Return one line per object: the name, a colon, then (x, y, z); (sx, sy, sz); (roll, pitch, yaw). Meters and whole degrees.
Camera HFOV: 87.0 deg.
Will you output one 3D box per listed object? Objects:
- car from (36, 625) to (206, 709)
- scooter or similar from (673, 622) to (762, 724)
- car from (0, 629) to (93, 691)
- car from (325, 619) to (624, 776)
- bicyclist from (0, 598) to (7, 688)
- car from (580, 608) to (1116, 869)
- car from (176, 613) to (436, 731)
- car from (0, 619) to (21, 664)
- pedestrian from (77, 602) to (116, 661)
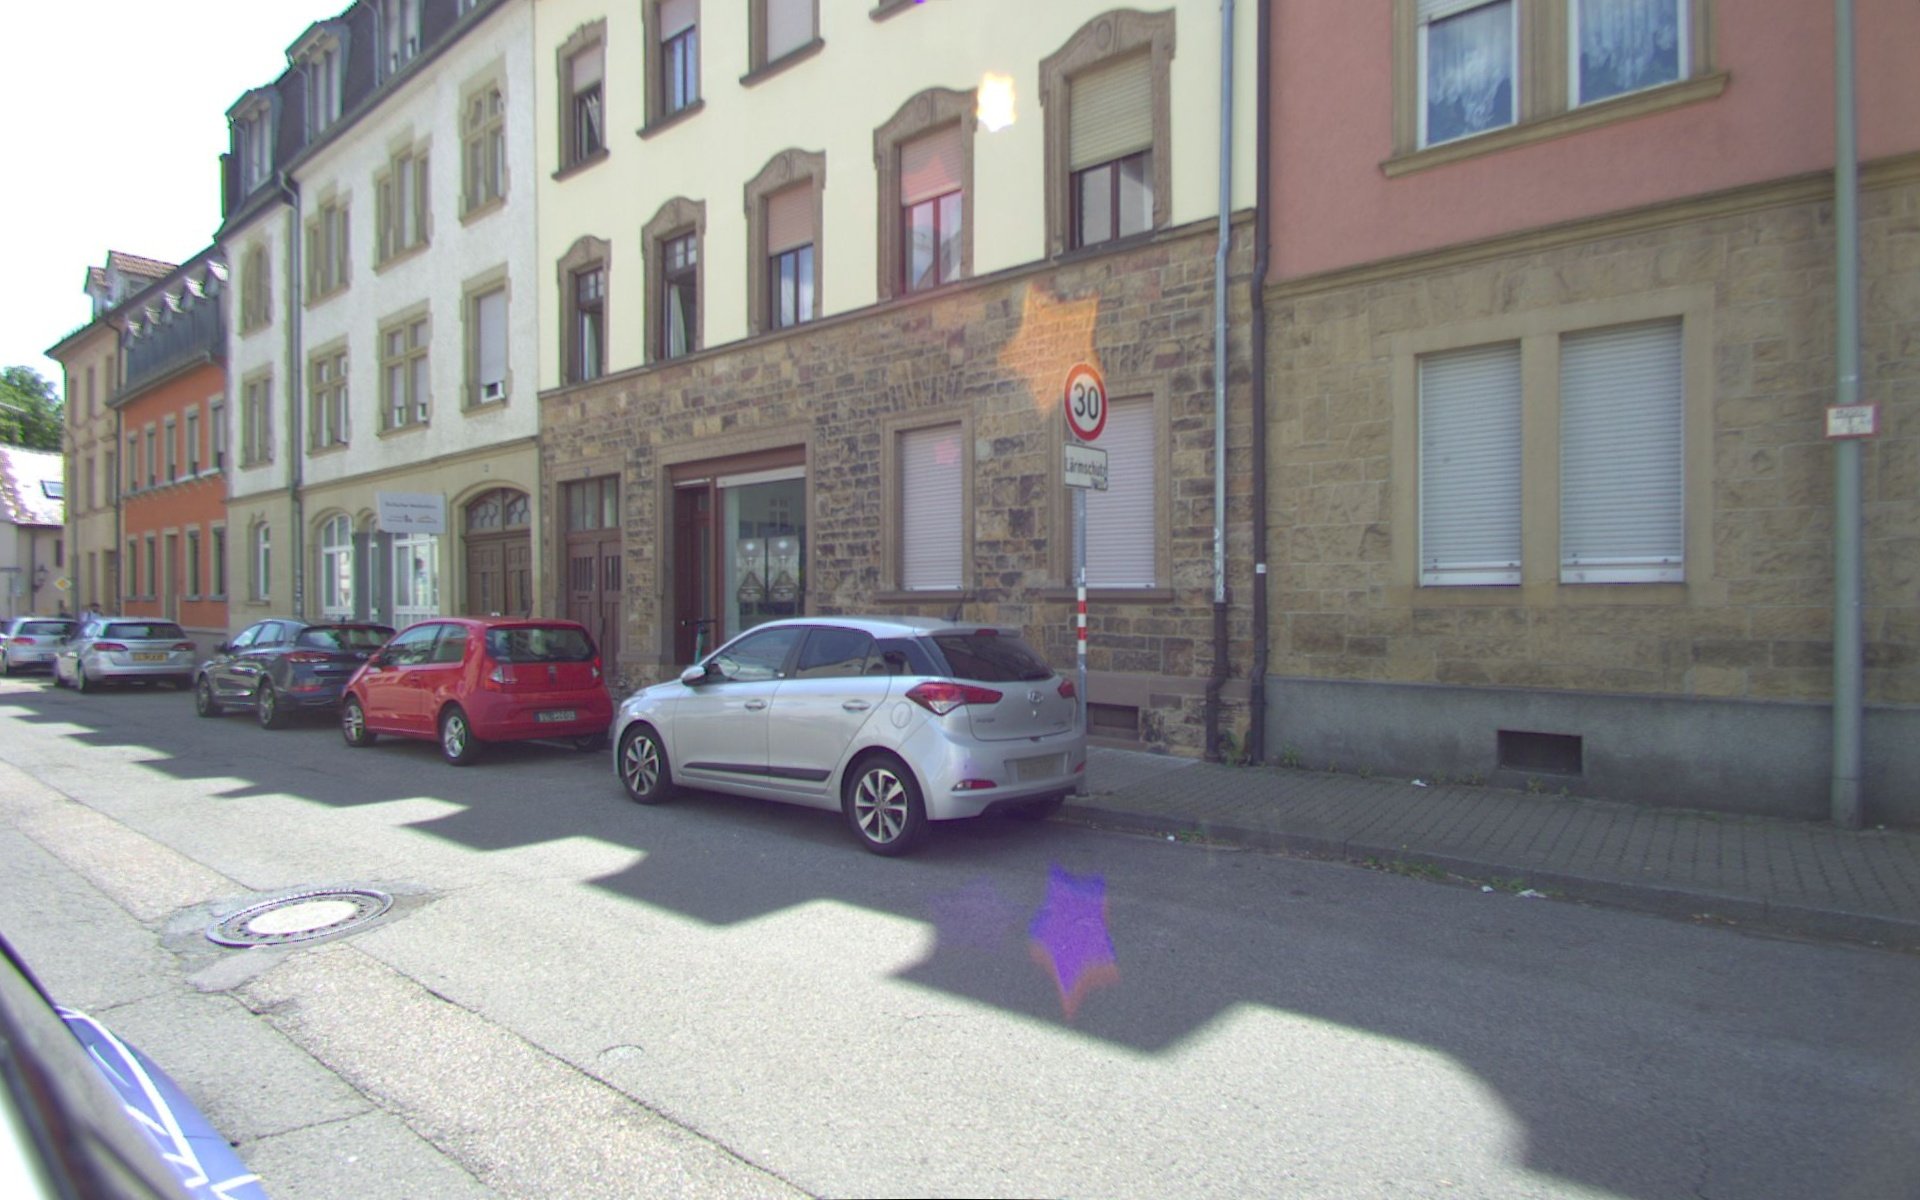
car: (-17.214, 1.285, 20.700); (4.376, 1.522, 1.859); (-1, -1, 39)
scooter or similar: (-3.080, 0.900, 12.813); (1.318, 1.230, 0.371); (-1, -2, 39)
car: (-24.023, 1.506, 26.183); (3.848, 1.470, 1.694); (-1, -3, 38)
car: (-5.408, 0.950, 11.144); (3.490, 1.453, 1.583); (-1, -2, 38)
bicyclist: (-19.486, 0.850, 20.059); (1.165, 1.776, 0.635); (-1, -3, 37)
car: (-0.994, 0.822, 7.513); (4.014, 1.442, 1.618); (-1, -2, 39)
car: (-9.473, 0.947, 14.551); (4.212, 1.449, 1.855); (-1, -1, 38)
car: (-33.294, 1.398, 34.185); (3.852, 1.453, 1.711); (-1, -1, 38)
pedestrian: (-27.200, 0.984, 31.887); (0.762, 1.784, 0.761); (-2, 1, 38)
